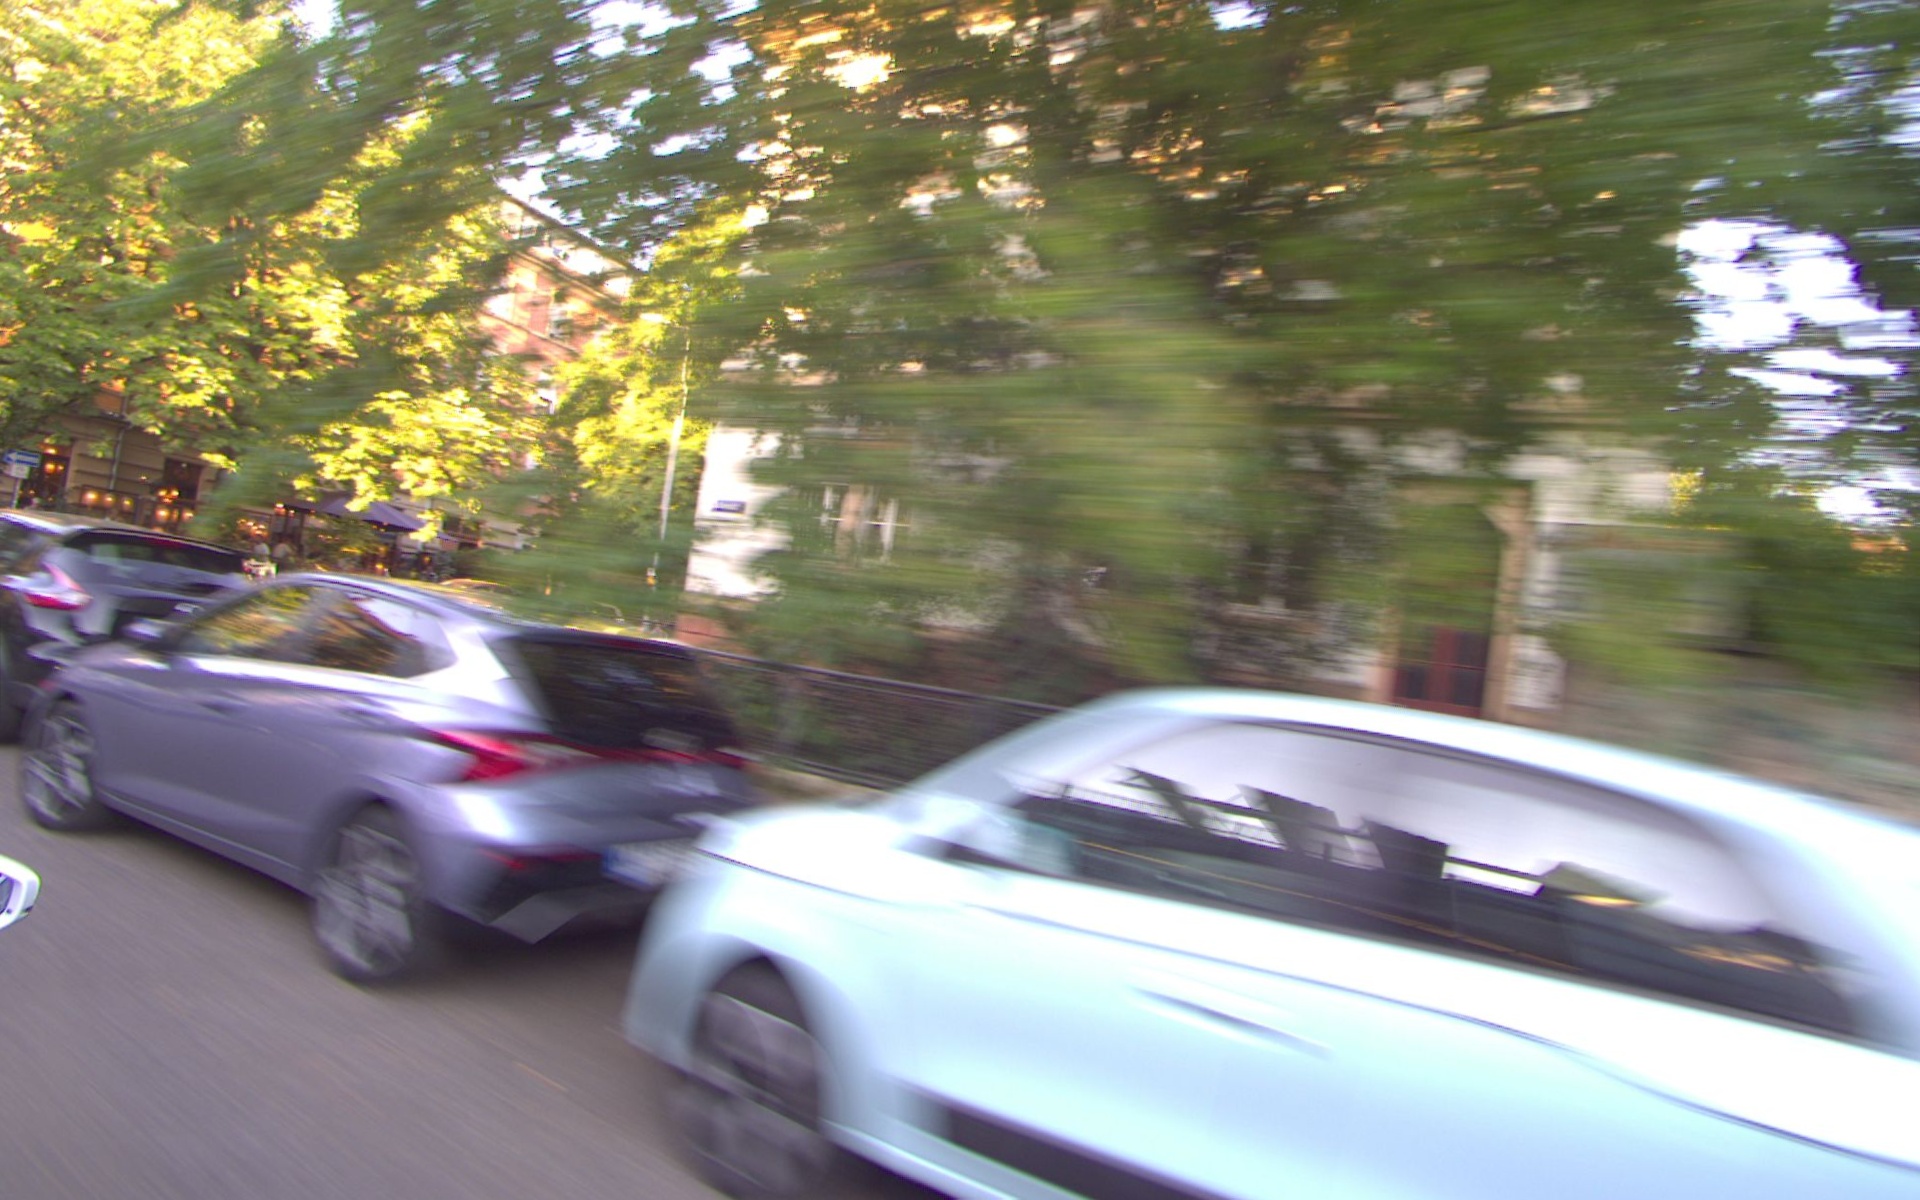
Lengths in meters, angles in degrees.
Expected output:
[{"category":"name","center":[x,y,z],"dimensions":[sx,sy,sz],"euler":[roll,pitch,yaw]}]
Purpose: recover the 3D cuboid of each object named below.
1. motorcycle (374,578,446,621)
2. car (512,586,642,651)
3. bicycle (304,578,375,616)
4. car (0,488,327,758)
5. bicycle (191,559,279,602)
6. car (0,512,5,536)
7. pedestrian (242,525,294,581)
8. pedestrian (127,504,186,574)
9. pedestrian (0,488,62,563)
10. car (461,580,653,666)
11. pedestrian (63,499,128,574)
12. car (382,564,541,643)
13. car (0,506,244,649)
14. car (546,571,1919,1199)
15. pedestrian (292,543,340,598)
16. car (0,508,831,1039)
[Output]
[{"category":"motorcycle","center":[-17.340,-0.007,31.752],"dimensions":[0.511,1.093,1.834],"euler":[8,-3,38]},{"category":"car","center":[-12.485,0.647,33.055],"dimensions":[1.598,1.570,3.772],"euler":[7,-4,25]},{"category":"bicycle","center":[-18.384,-0.085,29.854],"dimensions":[0.393,0.894,1.883],"euler":[8,-3,19]},{"category":"car","center":[-6.848,0.054,7.671],"dimensions":[3.905,1.588,1.699],"euler":[7,-3,31]},{"category":"bicycle","center":[-19.747,-0.512,27.448],"dimensions":[0.393,0.894,1.977],"euler":[8,-3,19]},{"category":"car","center":[-24.673,-1.696,23.034],"dimensions":[3.823,1.542,1.924],"euler":[10,-3,8]},{"category":"pedestrian","center":[-20.463,-1.384,29.759],"dimensions":[0.747,1.498,0.776],"euler":[8,-2,21]},{"category":"pedestrian","center":[-23.158,-1.764,28.994],"dimensions":[0.827,1.824,0.777],"euler":[8,-1,17]},{"category":"pedestrian","center":[-25.222,-2.018,27.250],"dimensions":[0.761,1.824,0.844],"euler":[8,-1,12]},{"category":"car","center":[-9.585,0.606,24.259],"dimensions":[1.848,1.545,3.975],"euler":[4,-5,25]},{"category":"pedestrian","center":[-23.048,-1.682,26.837],"dimensions":[0.827,1.824,0.777],"euler":[8,-1,17]},{"category":"car","center":[-14.325,0.151,29.124],"dimensions":[1.598,1.623,3.772],"euler":[10,-3,26]},{"category":"car","center":[-11.526,-0.301,13.299],"dimensions":[1.854,1.482,3.963],"euler":[10,-3,-14]},{"category":"car","center":[0.786,0.930,2.918],"dimensions":[3.498,1.493,1.700],"euler":[7,-3,29]},{"category":"pedestrian","center":[-19.847,-0.903,31.022],"dimensions":[0.747,1.498,0.776],"euler":[8,-2,21]},{"category":"car","center":[-2.920,0.576,5.021],"dimensions":[4.139,1.493,1.701],"euler":[7,-3,27]}]
